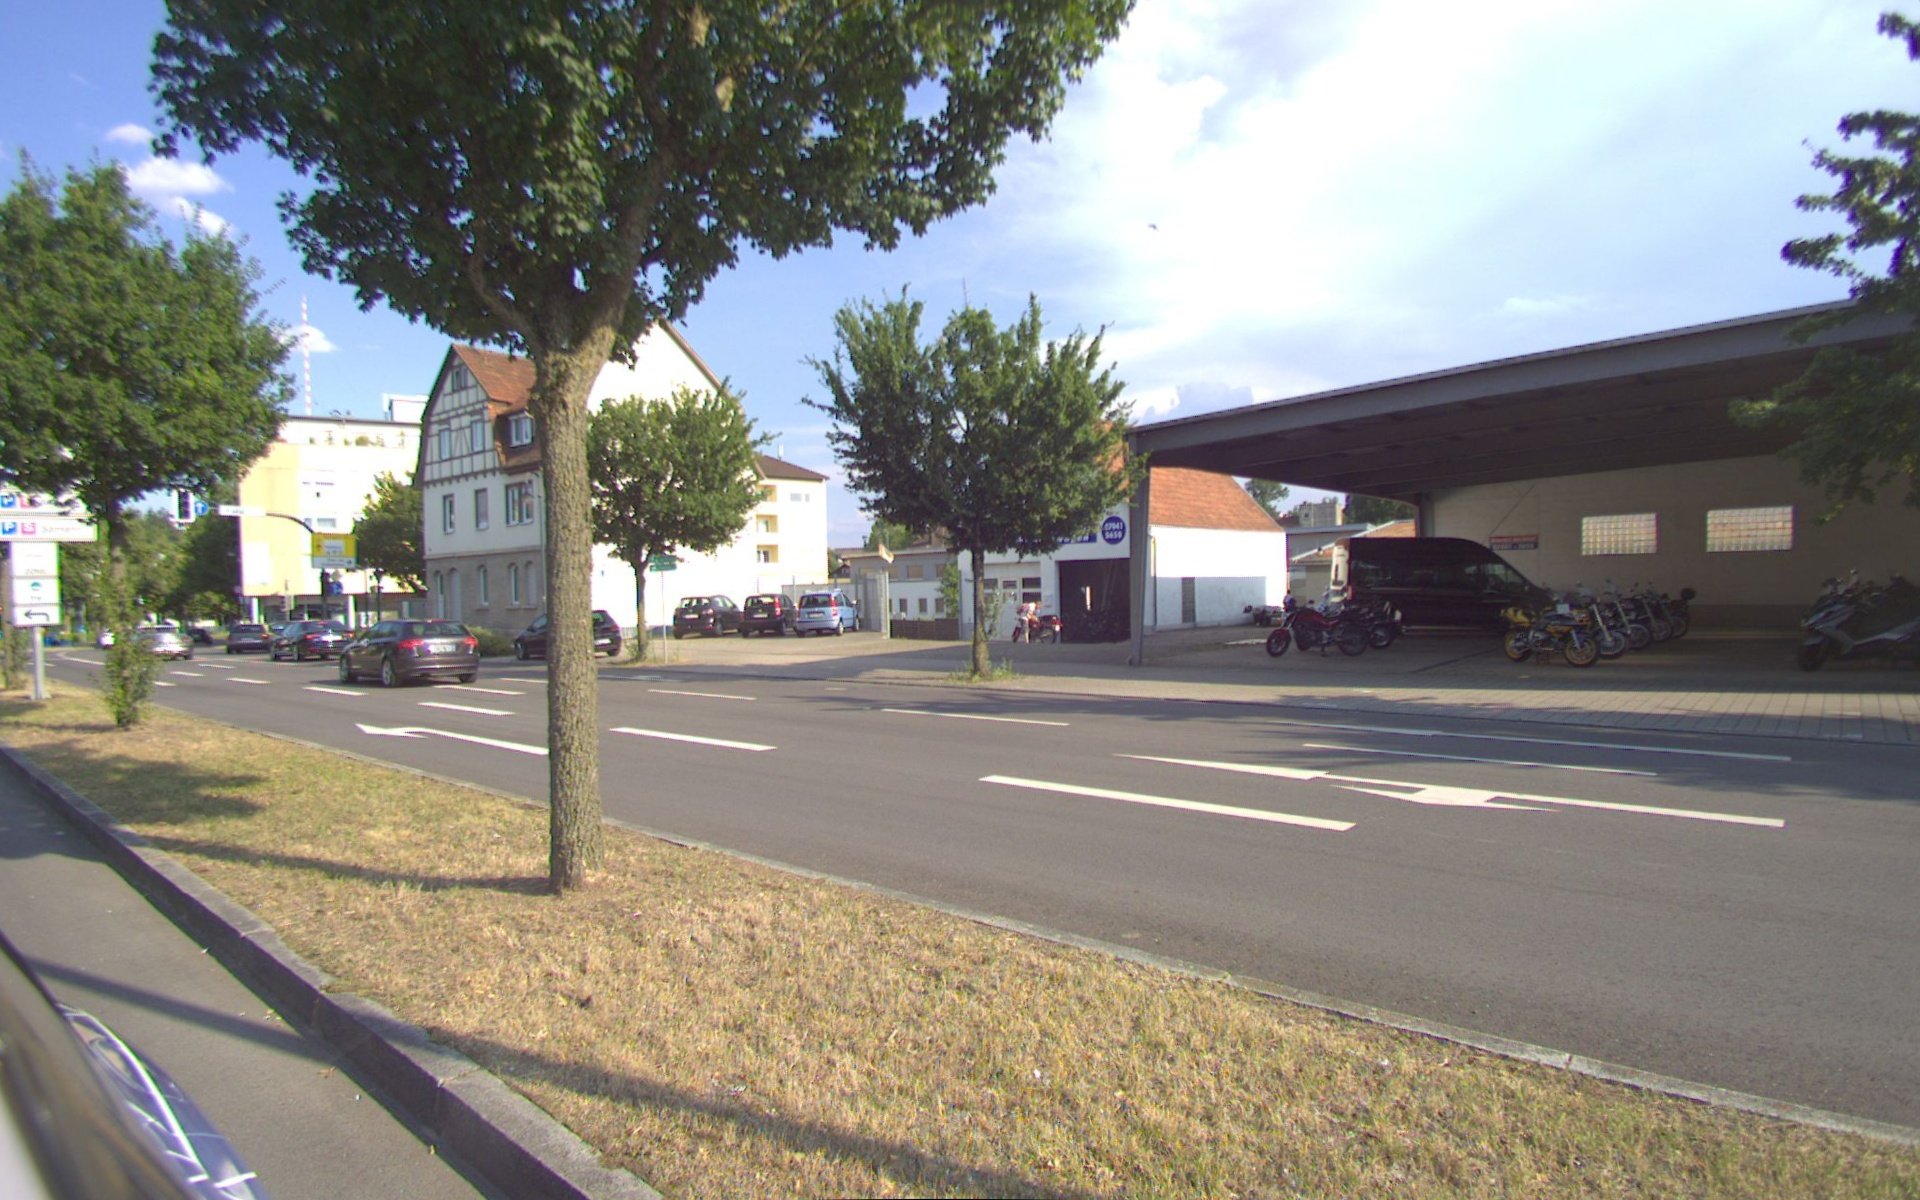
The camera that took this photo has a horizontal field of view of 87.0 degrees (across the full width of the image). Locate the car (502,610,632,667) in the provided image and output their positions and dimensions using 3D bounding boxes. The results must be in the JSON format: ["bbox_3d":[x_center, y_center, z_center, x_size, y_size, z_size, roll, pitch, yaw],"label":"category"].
[{"bbox_3d":[-11.748,1.107,30.161,4.193,1.454,1.816,-1,3,41],"label":"car"}]

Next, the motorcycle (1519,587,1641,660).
[{"bbox_3d":[12.106,0.437,19.846,0.553,1.340,2.161,-1,0,-19],"label":"motorcycle"}]

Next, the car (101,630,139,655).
[{"bbox_3d":[-54.280,2.714,65.449,1.778,1.508,3.963,-1,0,-38],"label":"car"}]

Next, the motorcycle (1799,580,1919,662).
[{"bbox_3d":[15.258,0.341,16.740,2.068,1.317,0.561,-1,0,12],"label":"motorcycle"}]

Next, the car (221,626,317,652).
[{"bbox_3d":[-41.427,2.302,60.746,4.594,1.364,1.770,-1,0,-41],"label":"car"}]

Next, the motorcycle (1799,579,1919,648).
[{"bbox_3d":[17.959,0.268,19.997,2.068,1.317,0.581,-1,0,12],"label":"motorcycle"}]

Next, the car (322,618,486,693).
[{"bbox_3d":[-11.888,1.120,21.551,4.186,1.397,1.628,-1,0,40],"label":"car"}]

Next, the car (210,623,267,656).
[{"bbox_3d":[-34.250,1.836,48.012,1.666,1.473,4.717,0,-1,-42],"label":"car"}]

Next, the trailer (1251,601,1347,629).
[{"bbox_3d":[12.505,0.531,37.257,2.449,0.831,3.152,-1,2,38],"label":"trailer"}]

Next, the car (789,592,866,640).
[{"bbox_3d":[-4.613,0.534,35.737,1.746,1.564,3.992,-1,0,7],"label":"car"}]

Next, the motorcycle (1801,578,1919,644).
[{"bbox_3d":[18.971,0.232,21.170,2.068,1.317,0.561,-1,0,12],"label":"motorcycle"}]

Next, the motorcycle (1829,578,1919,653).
[{"bbox_3d":[17.090,0.273,18.260,2.068,1.317,0.621,-1,0,12],"label":"motorcycle"}]

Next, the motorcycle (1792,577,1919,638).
[{"bbox_3d":[19.903,0.176,22.530,2.068,1.317,0.561,-1,0,12],"label":"motorcycle"}]

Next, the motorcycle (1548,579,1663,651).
[{"bbox_3d":[13.787,0.306,21.698,0.584,1.459,2.161,-1,0,-19],"label":"motorcycle"}]

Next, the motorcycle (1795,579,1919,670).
[{"bbox_3d":[13.877,0.360,15.133,2.093,1.317,0.561,-1,0,12],"label":"motorcycle"}]

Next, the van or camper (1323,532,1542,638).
[{"bbox_3d":[12.741,-0.373,27.615,4.980,2.700,1.995,-1,0,9],"label":"van or camper"}]

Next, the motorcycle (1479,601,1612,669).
[{"bbox_3d":[10.433,0.604,18.133,0.620,1.132,2.161,-1,0,-19],"label":"motorcycle"}]

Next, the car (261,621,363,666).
[{"bbox_3d":[-22.919,1.501,35.717,4.642,1.432,1.824,-1,0,41],"label":"car"}]

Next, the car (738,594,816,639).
[{"bbox_3d":[-6.689,0.587,37.420,1.746,1.564,3.992,-1,0,7],"label":"car"}]

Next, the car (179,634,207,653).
[{"bbox_3d":[-67.057,3.782,88.504,1.784,1.508,4.253,-1,0,-39],"label":"car"}]

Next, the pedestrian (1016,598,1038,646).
[{"bbox_3d":[2.162,0.714,32.774,0.644,1.535,0.673,-1,0,2],"label":"pedestrian"}]

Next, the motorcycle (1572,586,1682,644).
[{"bbox_3d":[15.429,0.342,23.484,0.636,1.268,2.161,-1,0,-19],"label":"motorcycle"}]

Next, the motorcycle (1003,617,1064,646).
[{"bbox_3d":[2.404,1.026,33.368,2.212,0.927,0.500,-1,0,45],"label":"motorcycle"}]

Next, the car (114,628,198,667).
[{"bbox_3d":[-31.401,1.815,39.500,4.475,1.359,1.762,-1,0,41],"label":"car"}]

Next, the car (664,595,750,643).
[{"bbox_3d":[-9.368,0.671,37.777,1.747,1.563,3.992,-2,1,7],"label":"car"}]

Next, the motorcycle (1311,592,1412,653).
[{"bbox_3d":[9.014,0.495,22.774,1.982,1.321,0.649,-1,0,5],"label":"motorcycle"}]

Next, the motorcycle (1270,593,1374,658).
[{"bbox_3d":[7.545,0.540,21.190,1.991,1.321,0.665,-1,0,18],"label":"motorcycle"}]

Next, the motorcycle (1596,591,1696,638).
[{"bbox_3d":[17.196,0.356,25.439,0.553,1.131,2.161,-1,0,-19],"label":"motorcycle"}]

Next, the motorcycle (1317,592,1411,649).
[{"bbox_3d":[9.781,0.487,24.554,1.982,1.321,0.649,-1,0,5],"label":"motorcycle"}]
